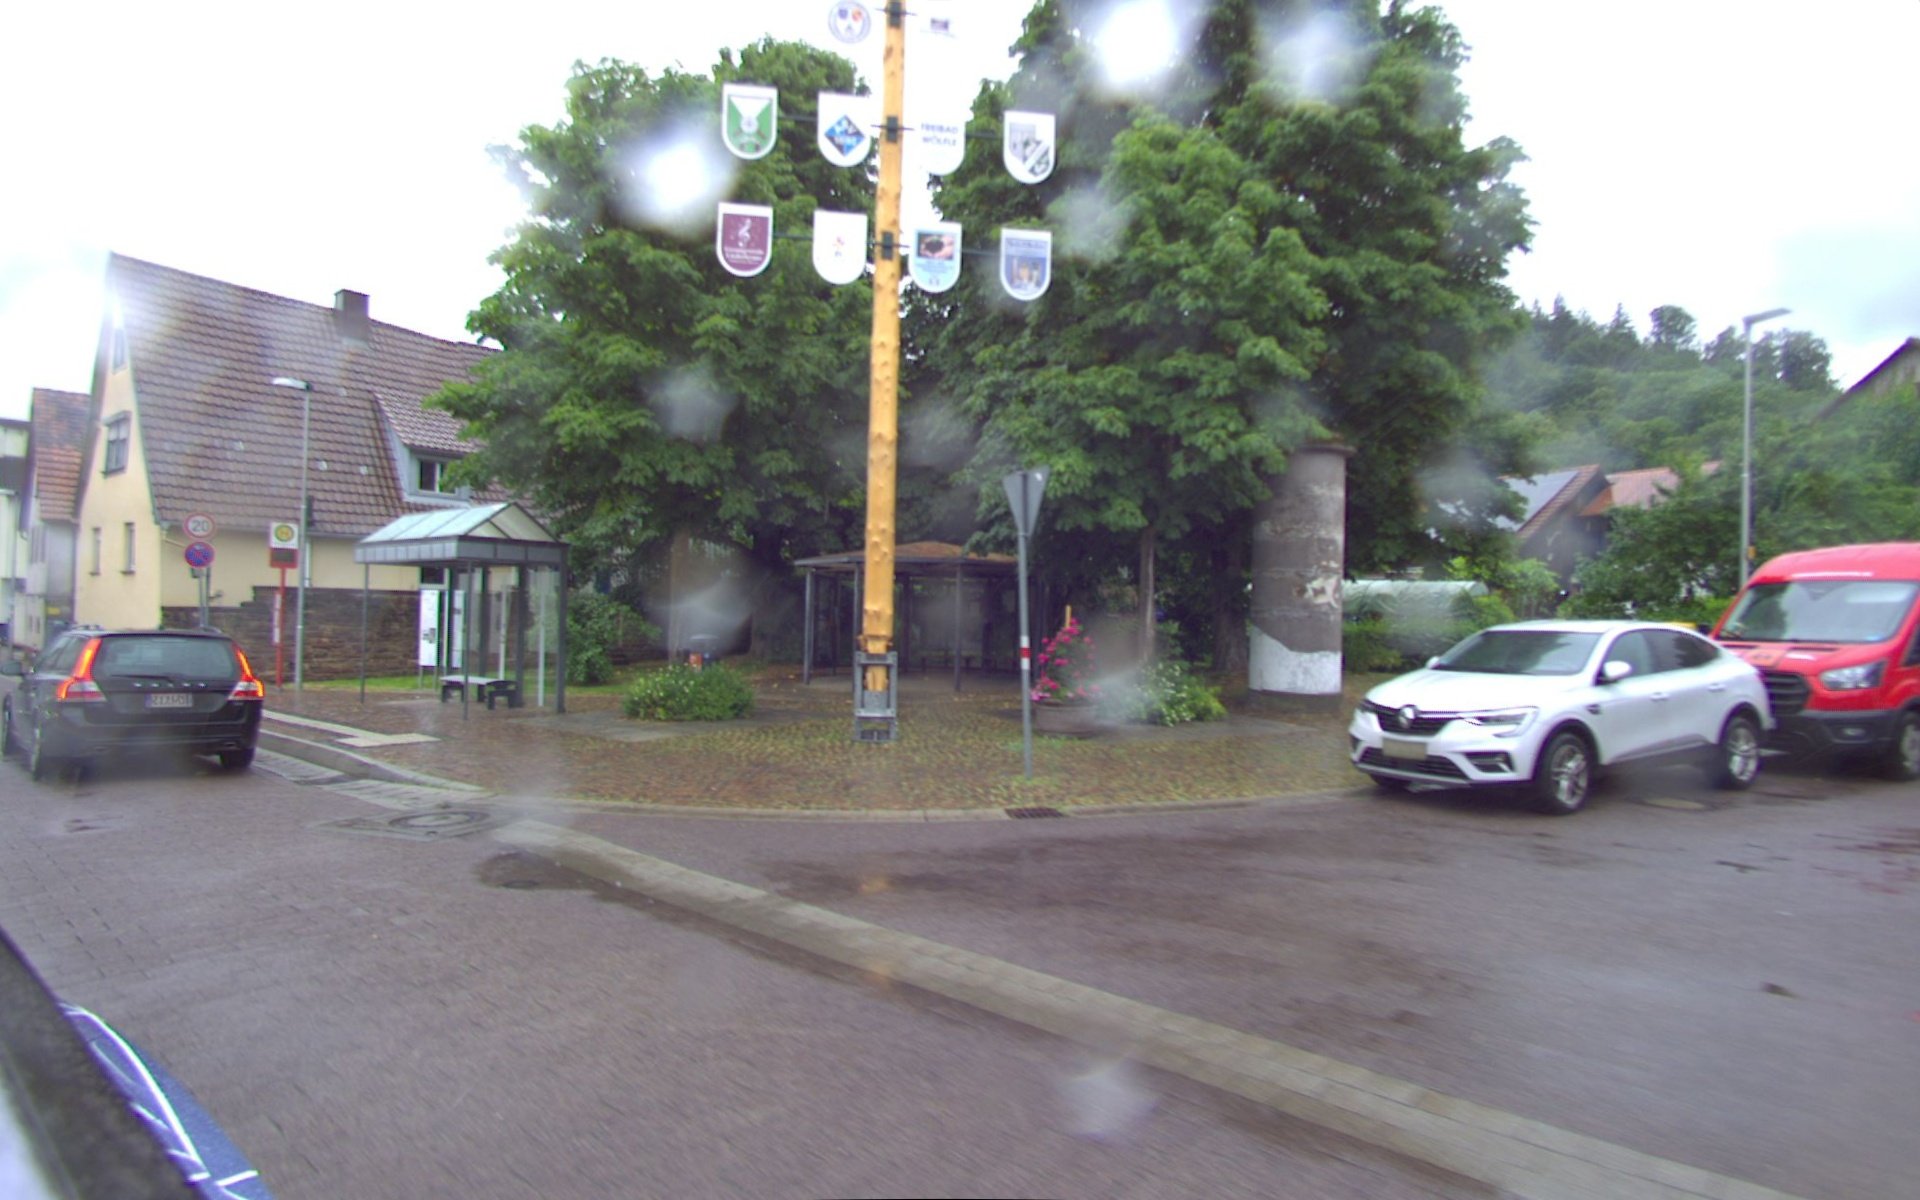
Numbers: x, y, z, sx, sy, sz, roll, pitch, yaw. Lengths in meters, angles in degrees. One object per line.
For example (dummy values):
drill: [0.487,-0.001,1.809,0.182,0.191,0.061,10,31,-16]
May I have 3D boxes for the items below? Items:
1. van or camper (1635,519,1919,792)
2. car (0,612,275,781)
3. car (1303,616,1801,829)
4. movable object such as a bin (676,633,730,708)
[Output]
van or camper: [10.578,0.543,11.357,5.775,2.492,2.162,1,0,-23]
car: [-9.226,0.951,11.134,4.314,1.488,1.824,-2,-4,43]
car: [5.478,0.950,9.304,4.383,1.561,1.888,1,-2,-27]
movable object such as a bin: [-4.161,1.122,16.374,0.604,1.155,0.556,1,-1,40]
